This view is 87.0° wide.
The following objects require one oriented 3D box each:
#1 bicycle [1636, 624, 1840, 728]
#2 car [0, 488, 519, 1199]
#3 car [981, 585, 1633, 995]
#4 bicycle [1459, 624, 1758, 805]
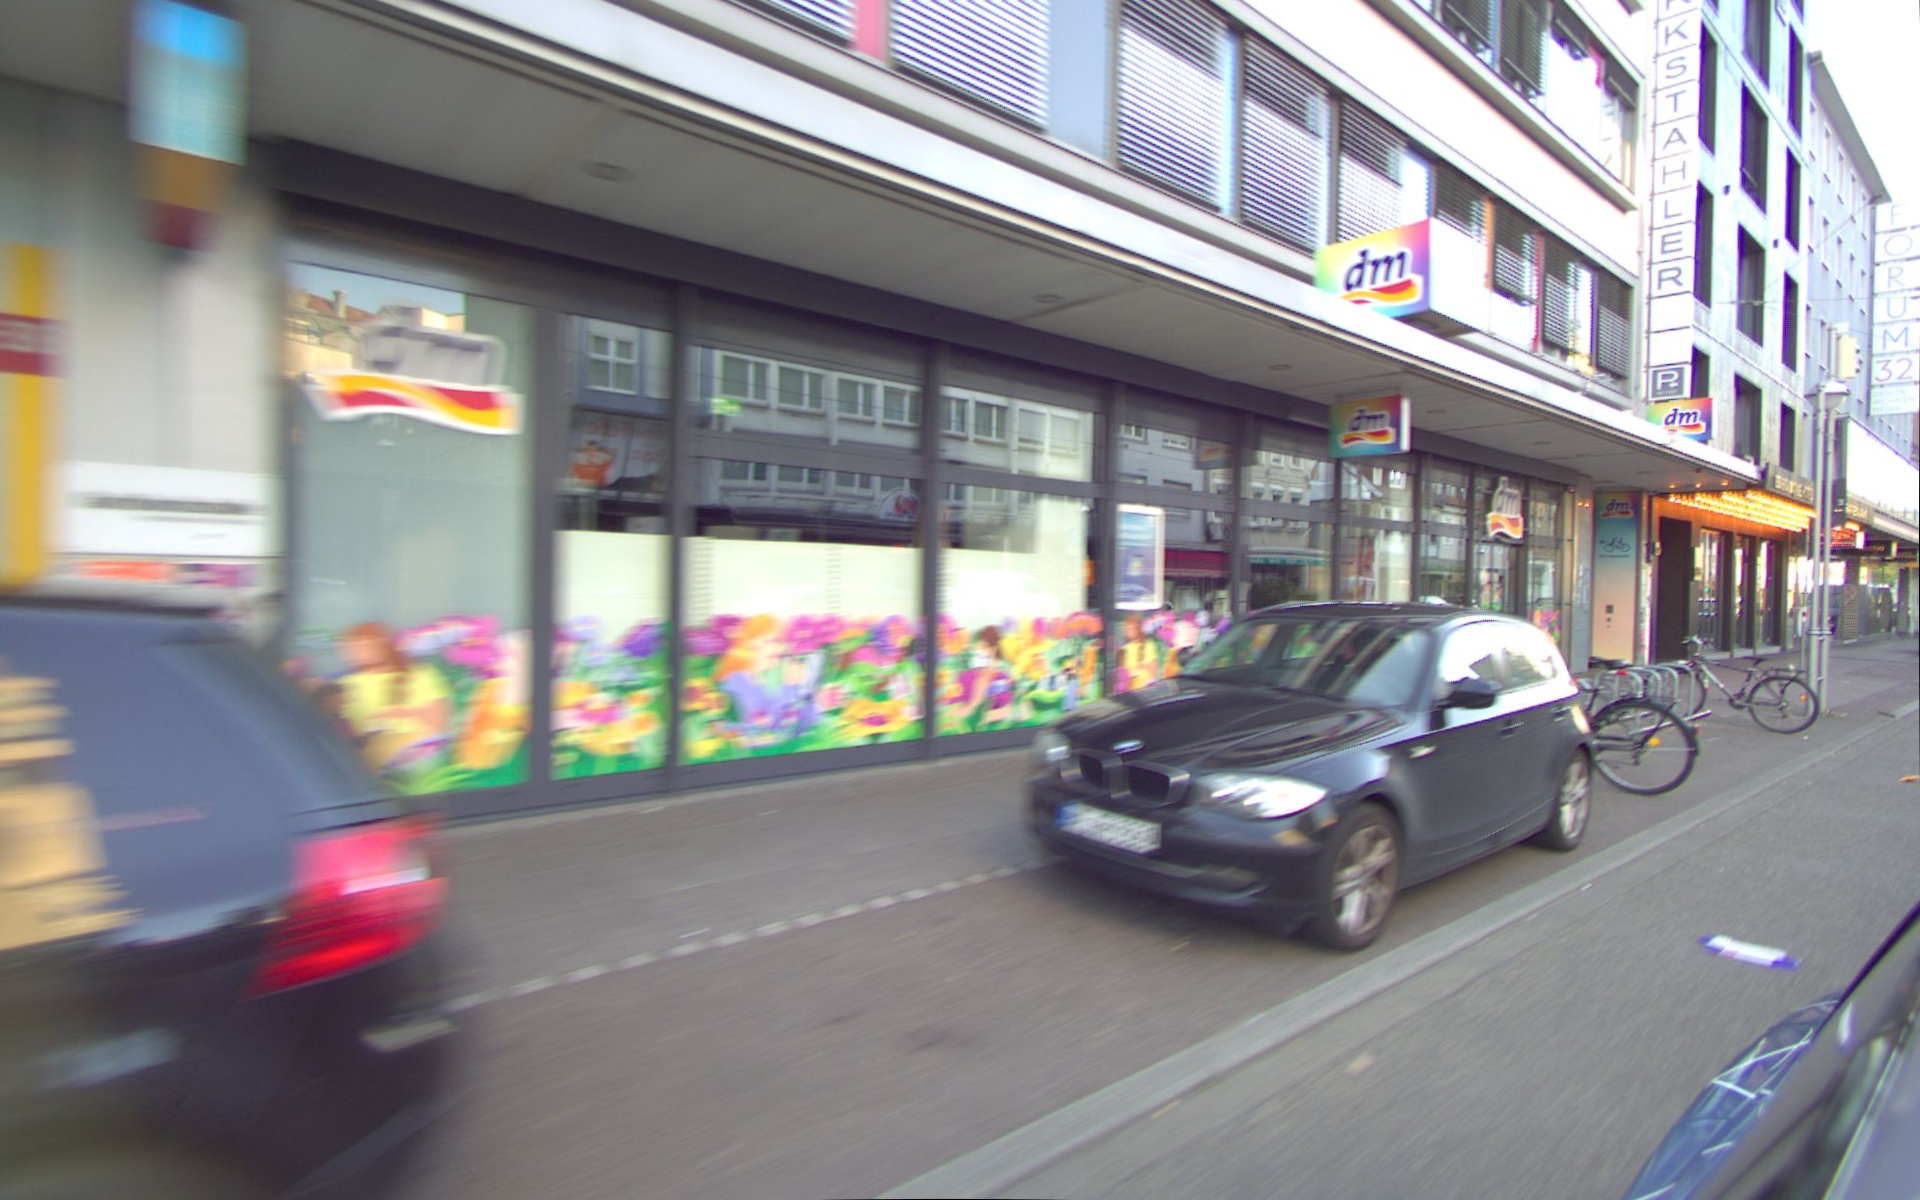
[{"bbox_3d":[9.102,0.855,11.901,0.566,0.984,1.797,0,3,-43],"label":"bicycle"},{"bbox_3d":[-2.872,0.629,1.181,4.000,1.532,1.768,-1,0,-41],"label":"car"},{"bbox_3d":[2.132,0.675,5.595,3.952,1.481,1.657,-1,0,-41],"label":"car"},{"bbox_3d":[4.990,0.815,7.898,0.631,1.123,1.842,0,3,-43],"label":"bicycle"}]
